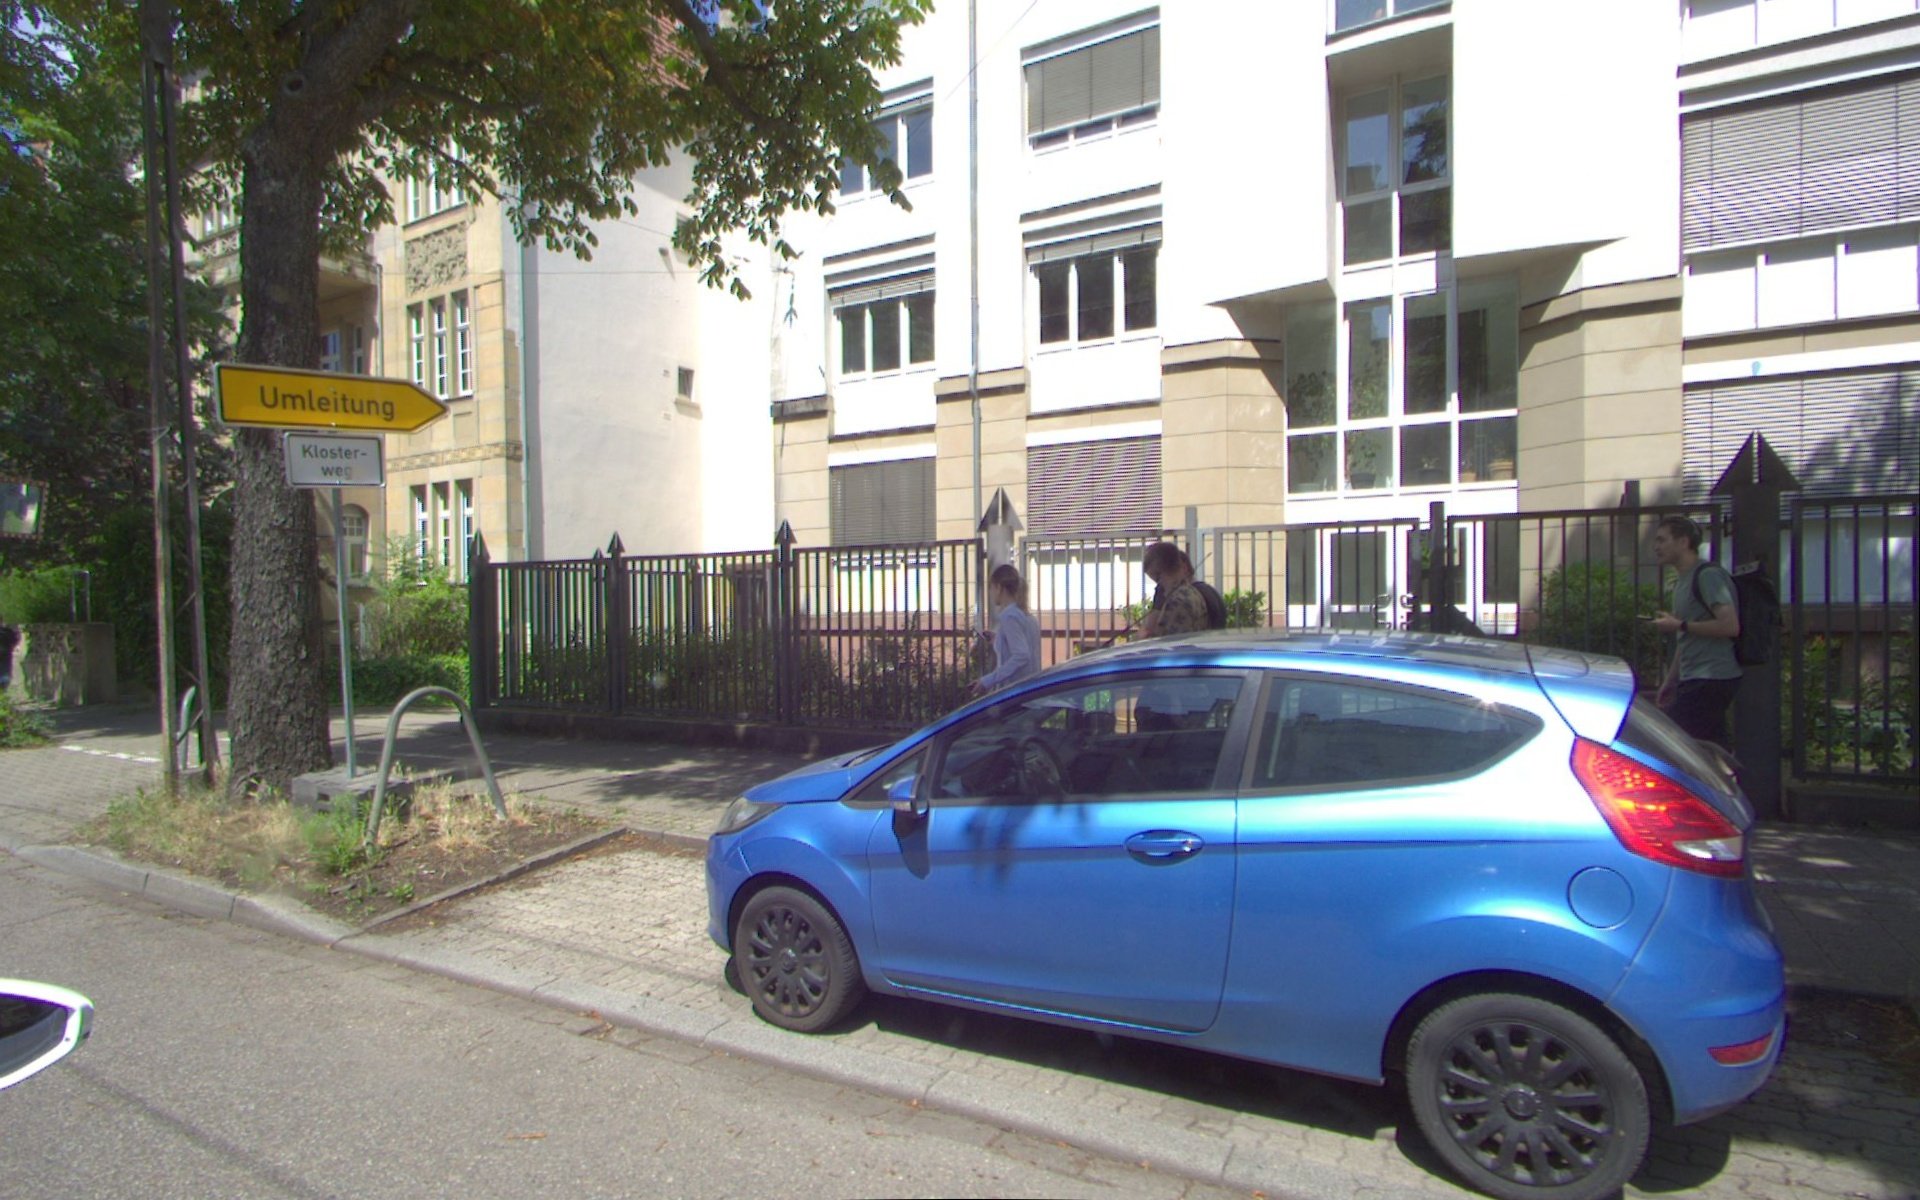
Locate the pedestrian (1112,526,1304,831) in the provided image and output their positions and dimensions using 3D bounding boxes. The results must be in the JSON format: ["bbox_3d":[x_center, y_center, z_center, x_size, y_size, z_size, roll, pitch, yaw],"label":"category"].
[{"bbox_3d":[1.609,0.467,6.448,1.036,1.785,0.787,0,0,29],"label":"pedestrian"}]

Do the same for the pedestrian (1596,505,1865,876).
[{"bbox_3d":[4.139,0.451,5.476,1.067,1.821,0.683,0,0,29],"label":"pedestrian"}]

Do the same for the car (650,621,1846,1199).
[{"bbox_3d":[0.764,0.822,3.861,3.663,1.462,1.676,-1,0,29],"label":"car"}]

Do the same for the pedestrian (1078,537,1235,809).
[{"bbox_3d":[1.431,0.498,7.263,0.962,1.835,0.660,0,0,29],"label":"pedestrian"}]

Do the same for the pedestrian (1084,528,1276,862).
[{"bbox_3d":[1.308,0.518,5.928,0.933,1.800,0.703,0,0,31],"label":"pedestrian"}]

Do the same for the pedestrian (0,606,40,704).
[{"bbox_3d":[-16.756,0.948,17.492,0.826,1.667,0.853,0,0,37],"label":"pedestrian"}]

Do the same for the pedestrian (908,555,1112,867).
[{"bbox_3d":[0.306,0.601,5.939,0.959,1.673,0.765,0,0,31],"label":"pedestrian"}]
